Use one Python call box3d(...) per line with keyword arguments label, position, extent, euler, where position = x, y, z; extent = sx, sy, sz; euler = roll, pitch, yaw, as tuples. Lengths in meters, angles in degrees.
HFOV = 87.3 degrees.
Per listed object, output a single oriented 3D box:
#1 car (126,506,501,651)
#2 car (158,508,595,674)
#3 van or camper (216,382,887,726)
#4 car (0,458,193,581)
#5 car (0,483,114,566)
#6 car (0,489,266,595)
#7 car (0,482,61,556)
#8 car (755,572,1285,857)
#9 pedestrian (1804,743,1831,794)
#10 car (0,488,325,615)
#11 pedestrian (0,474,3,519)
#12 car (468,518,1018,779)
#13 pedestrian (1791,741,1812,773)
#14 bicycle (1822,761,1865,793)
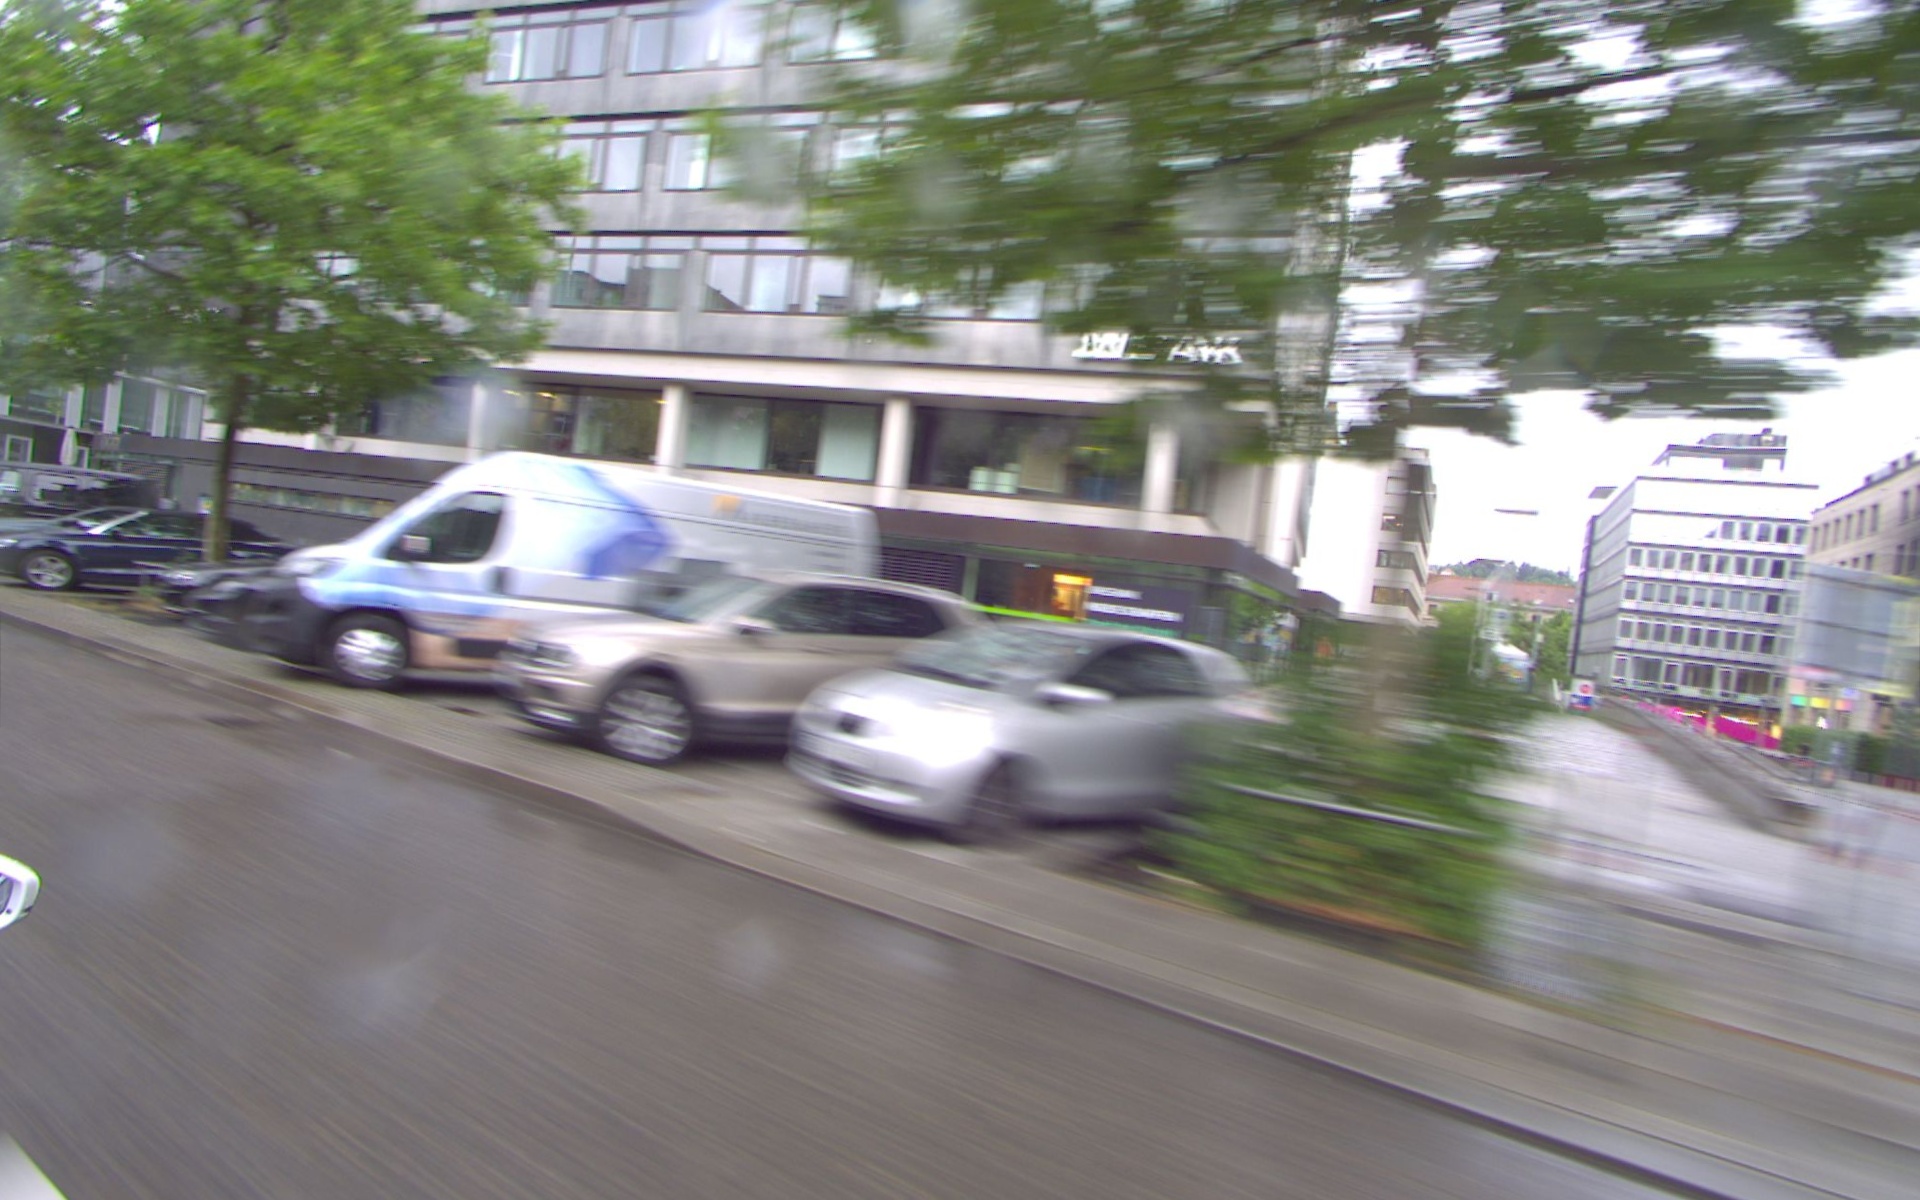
box3d(label="car", position=(-8.993, -0.254, 14.357), extent=(4.170, 1.453, 1.706), euler=(8, -1, -32))
box3d(label="car", position=(-7.127, -0.050, 12.695), extent=(4.357, 1.453, 1.925), euler=(8, -1, -32))
box3d(label="van or camper", position=(-4.058, -0.232, 10.879), extent=(6.022, 2.589, 2.088), euler=(7, -1, -31))
box3d(label="car", position=(-18.218, -1.677, 19.615), extent=(4.902, 2.003, 1.913), euler=(6, 1, -32))
box3d(label="car", position=(-20.712, -1.761, 20.899), extent=(4.524, 1.526, 1.852), euler=(7, 1, -34))
box3d(label="car", position=(-15.464, -1.063, 18.141), extent=(4.586, 1.412, 1.833), euler=(7, 0, -30))
box3d(label="car", position=(-23.308, -2.077, 22.426), extent=(4.759, 1.553, 1.846), euler=(6, 0, -44))
box3d(label="car", position=(0.574, 0.844, 7.521), extent=(3.633, 1.565, 1.696), euler=(8, -1, -39))
box3d(label="pedestrian", position=(36.260, 7.118, 42.529), extent=(0.562, 2.038, 0.705), euler=(7, 0, 31))
box3d(label="car", position=(-13.105, -0.762, 16.574), extent=(4.335, 1.453, 1.747), euler=(8, -1, -32))
box3d(label="pedestrian", position=(-39.633, -4.250, 40.999), extent=(0.757, 1.808, 0.640), euler=(5, 3, 24))
box3d(label="car", position=(-1.804, 0.495, 8.828), extent=(4.228, 1.687, 1.803), euler=(8, -1, -32))
box3d(label="pedestrian", position=(46.590, 8.688, 55.711), extent=(0.677, 1.651, 0.682), euler=(7, 0, 34))
box3d(label="bicycle", position=(35.355, 7.058, 40.252), extent=(1.176, 1.052, 0.350), euler=(6, -1, 32))
